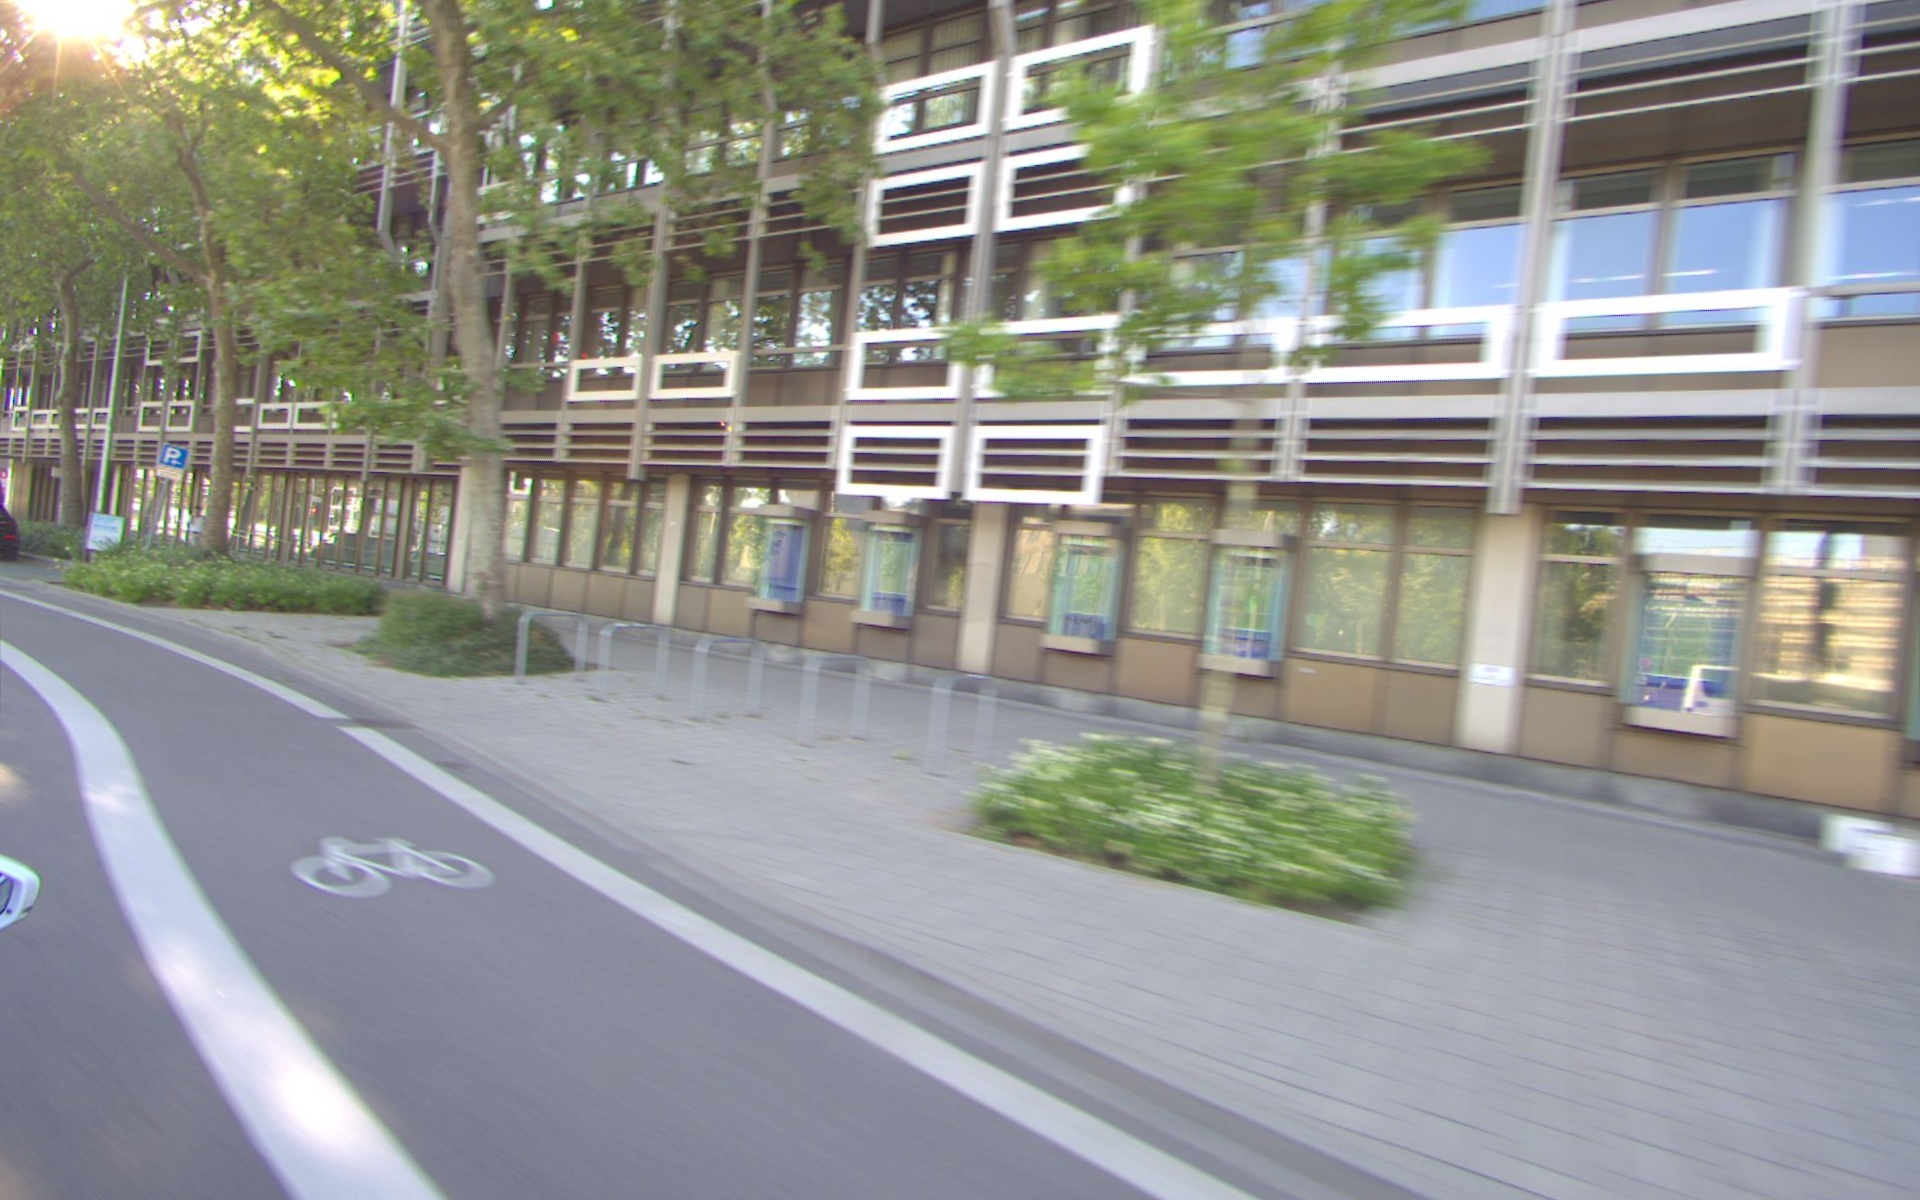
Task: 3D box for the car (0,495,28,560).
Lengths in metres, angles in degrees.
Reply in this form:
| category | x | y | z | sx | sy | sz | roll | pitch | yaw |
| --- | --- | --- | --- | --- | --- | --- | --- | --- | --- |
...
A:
| category | x | y | z | sx | sy | sz | roll | pitch | yaw |
| --- | --- | --- | --- | --- | --- | --- | --- | --- | --- |
| car | -24.036 | -1.893 | 23.966 | 4.207 | 1.437 | 1.706 | 7 | 2 | 33 |

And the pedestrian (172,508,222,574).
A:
| category | x | y | z | sx | sy | sz | roll | pitch | yaw |
| --- | --- | --- | --- | --- | --- | --- | --- | --- | --- |
| pedestrian | -23.610 | -1.815 | 31.145 | 0.833 | 1.878 | 0.832 | 7 | 0 | 32 |
